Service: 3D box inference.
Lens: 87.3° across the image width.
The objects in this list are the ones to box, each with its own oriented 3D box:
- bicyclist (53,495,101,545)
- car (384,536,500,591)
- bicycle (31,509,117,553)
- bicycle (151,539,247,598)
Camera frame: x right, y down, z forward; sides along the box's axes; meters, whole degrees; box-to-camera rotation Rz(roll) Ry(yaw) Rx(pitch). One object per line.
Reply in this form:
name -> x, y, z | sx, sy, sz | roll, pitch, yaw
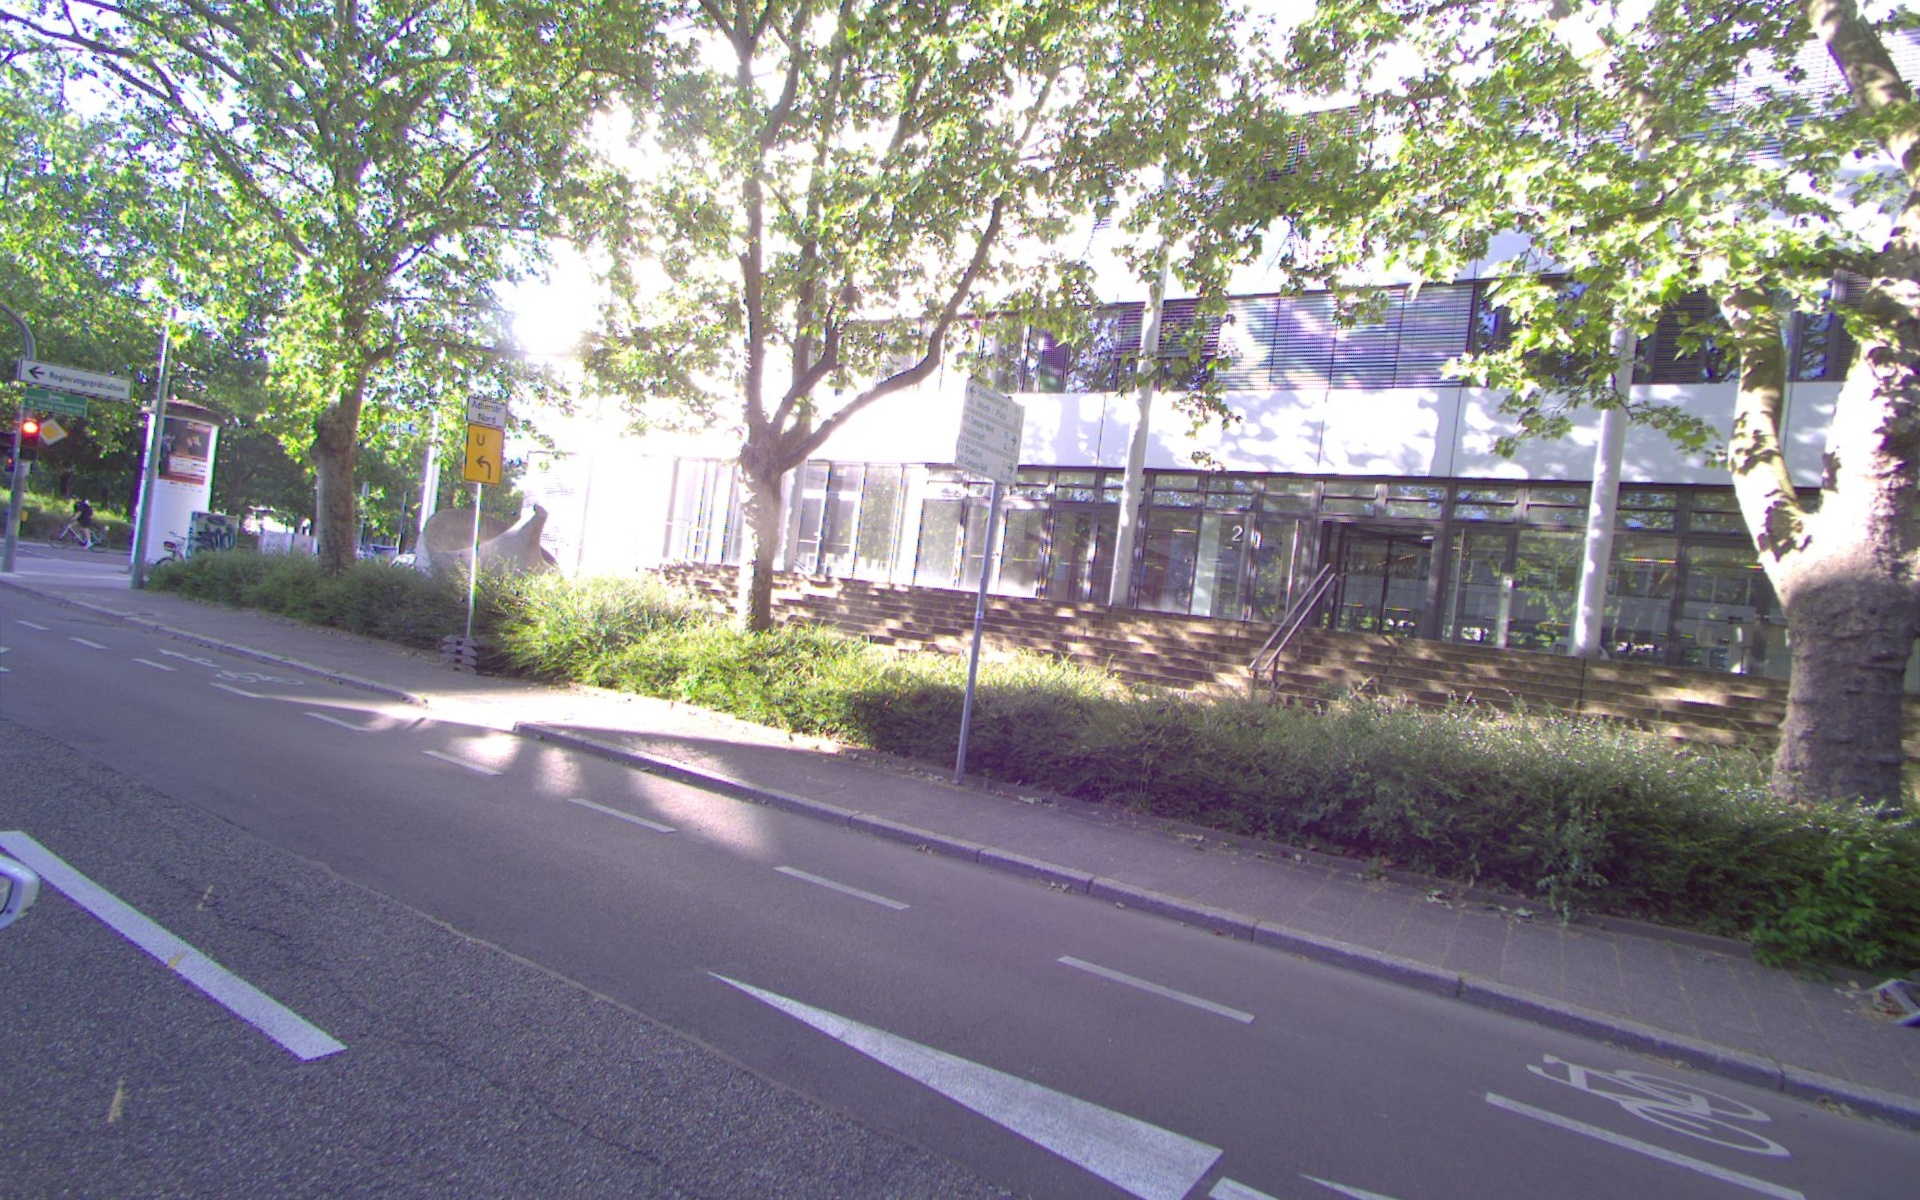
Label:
bicyclist -> -31.067, -2.812, 35.393 | 0.869, 1.572, 0.816 | 7, 0, 22
car -> -22.868, -1.583, 44.534 | 1.969, 1.805, 3.999 | 7, -2, 36
bicycle -> -31.109, -2.423, 35.351 | 0.869, 1.199, 2.004 | 7, -1, 22
bicycle -> -15.873, -0.645, 21.016 | 0.529, 1.049, 1.418 | 7, -1, 28
